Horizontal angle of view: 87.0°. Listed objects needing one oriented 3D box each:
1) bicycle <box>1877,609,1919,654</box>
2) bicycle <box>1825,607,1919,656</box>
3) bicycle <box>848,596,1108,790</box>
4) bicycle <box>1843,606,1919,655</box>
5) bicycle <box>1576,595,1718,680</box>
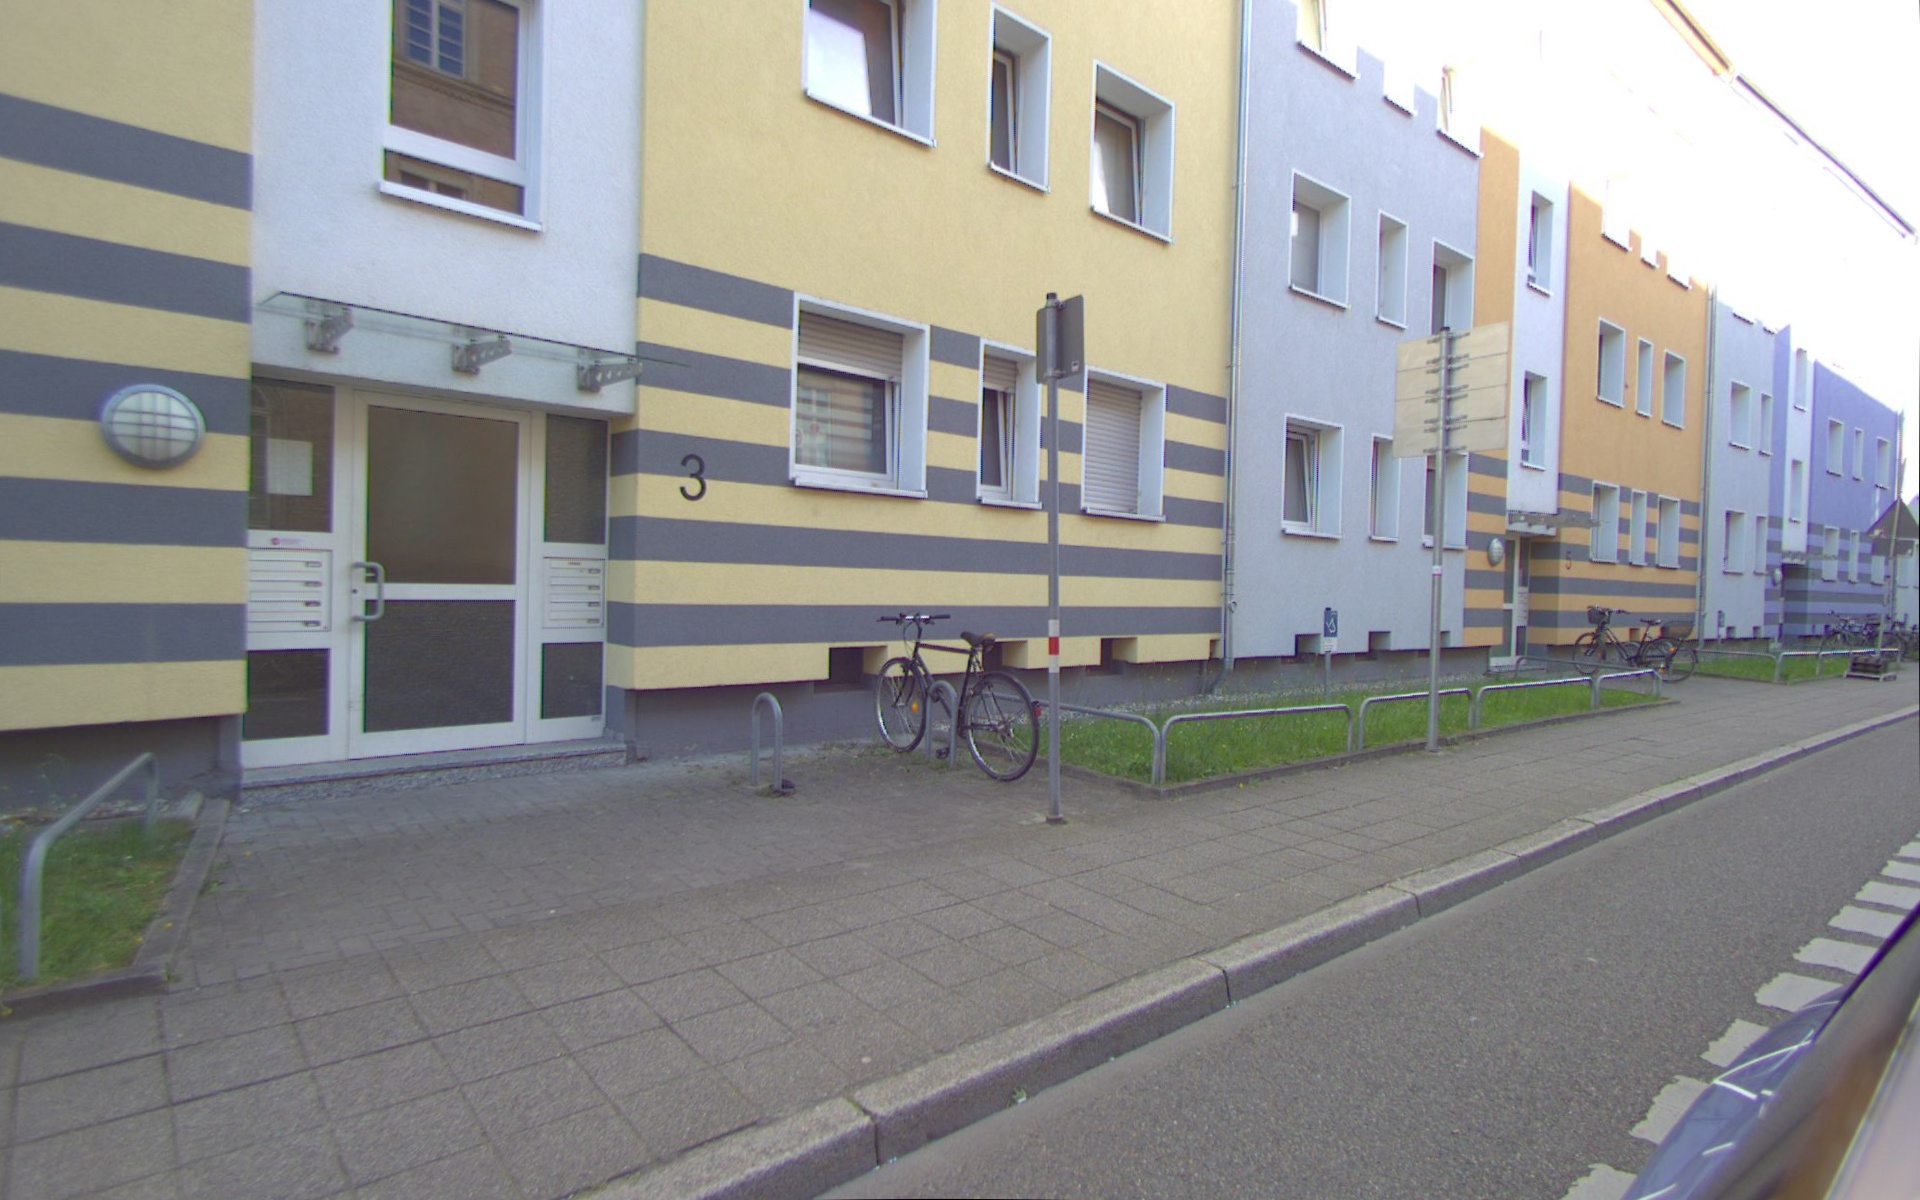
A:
[{"bbox_3d":[24.181,0.813,25.353,0.625,1.048,1.709,1,3,-42],"label":"bicycle"},{"bbox_3d":[22.294,0.751,24.683,0.624,1.058,1.711,1,3,-39],"label":"bicycle"},{"bbox_3d":[0.057,0.563,7.062,0.625,1.074,1.946,1,3,-42],"label":"bicycle"},{"bbox_3d":[23.262,0.750,25.279,0.625,1.095,1.711,1,3,-40],"label":"bicycle"},{"bbox_3d":[10.753,0.563,15.880,0.625,1.173,1.709,1,3,-42],"label":"bicycle"}]
